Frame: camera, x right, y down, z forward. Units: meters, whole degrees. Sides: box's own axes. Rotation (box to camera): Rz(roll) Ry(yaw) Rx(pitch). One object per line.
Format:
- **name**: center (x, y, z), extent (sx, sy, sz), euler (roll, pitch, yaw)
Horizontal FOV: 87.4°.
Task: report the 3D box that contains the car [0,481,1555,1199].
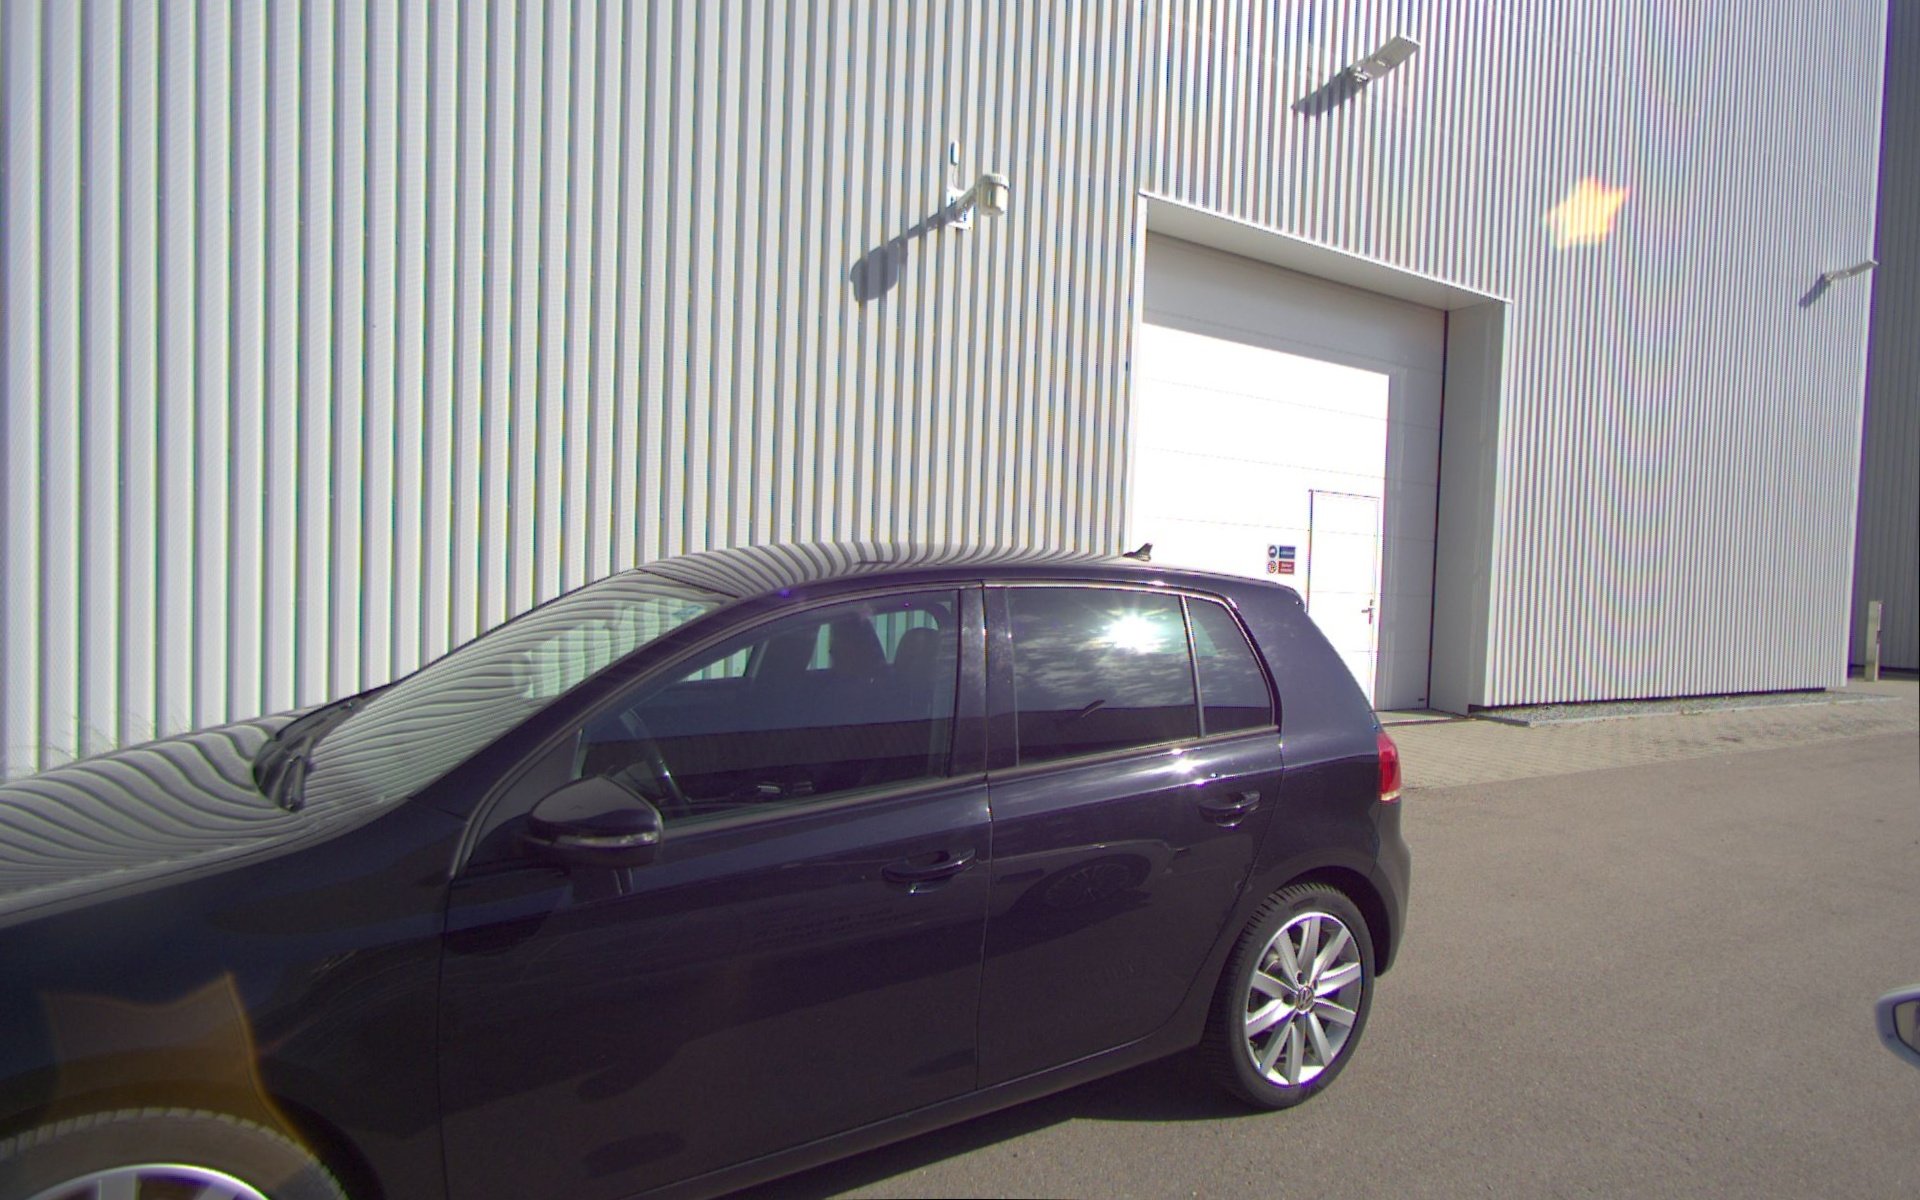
- **car**: center (-0.481, 0.527, 2.806), extent (4.263, 1.465, 1.748), euler (1, 4, -30)
